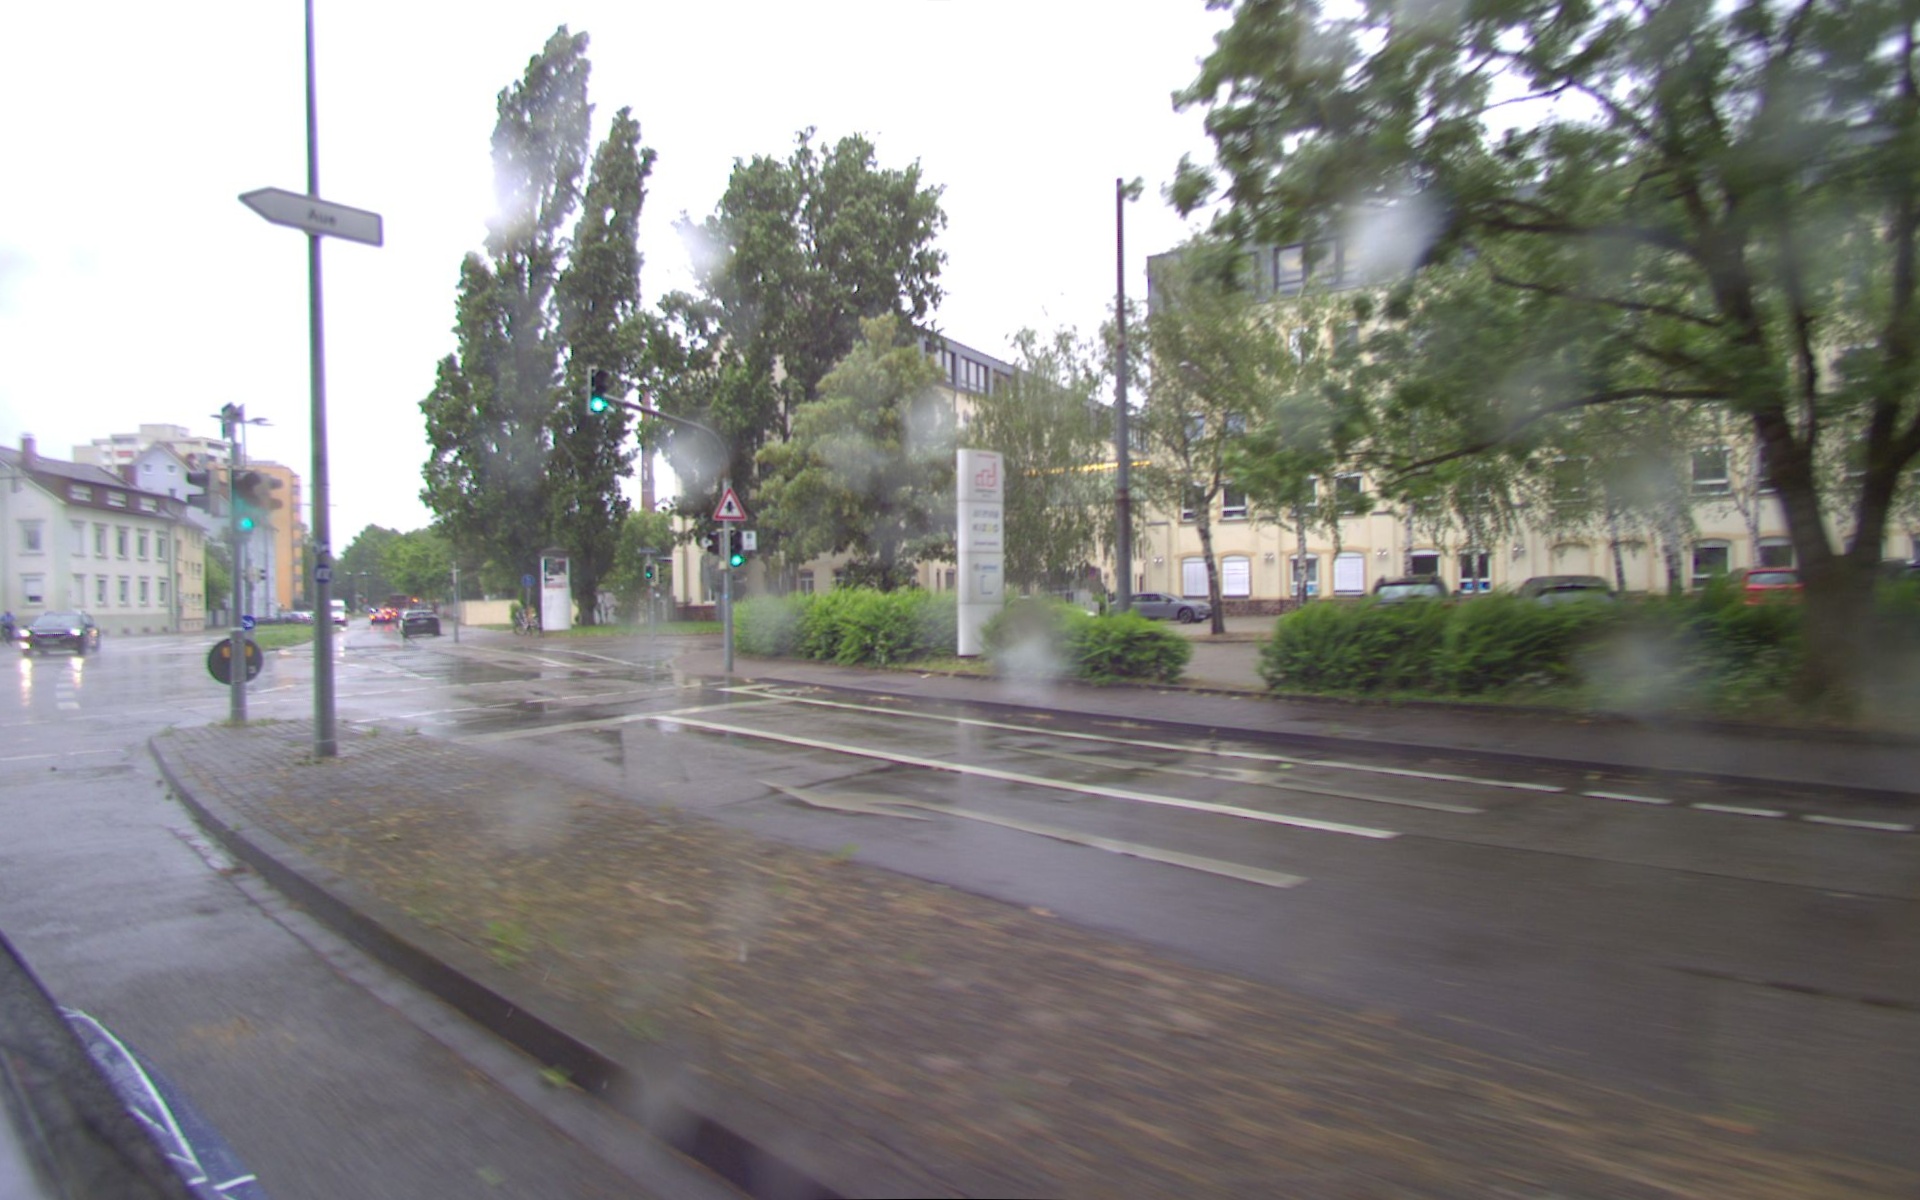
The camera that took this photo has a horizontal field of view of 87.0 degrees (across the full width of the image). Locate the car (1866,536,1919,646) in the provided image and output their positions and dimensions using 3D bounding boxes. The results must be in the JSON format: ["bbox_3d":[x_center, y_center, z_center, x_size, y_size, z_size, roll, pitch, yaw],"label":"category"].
[{"bbox_3d":[15.847,-0.195,16.131,1.648,1.623,3.952,-1,1,36],"label":"car"}]

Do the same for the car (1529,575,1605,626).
[{"bbox_3d":[19.720,0.015,32.971,1.992,1.530,3.959,-1,0,30],"label":"car"}]

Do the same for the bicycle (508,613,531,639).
[{"bbox_3d":[-21.217,1.247,48.746,0.688,1.195,1.628,-2,1,-34],"label":"bicycle"}]

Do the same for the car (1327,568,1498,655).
[{"bbox_3d":[9.223,0.173,20.491,1.925,1.549,3.943,-1,1,44],"label":"car"}]

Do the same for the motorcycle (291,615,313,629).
[{"bbox_3d":[-64.749,2.158,99.585,1.738,1.383,0.737,-2,1,-27],"label":"motorcycle"}]

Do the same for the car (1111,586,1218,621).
[{"bbox_3d":[9.512,0.160,47.167,4.516,1.511,1.979,-1,1,32],"label":"car"}]

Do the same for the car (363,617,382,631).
[{"bbox_3d":[-62.848,2.531,108.287,1.703,1.404,3.962,2,-1,-30],"label":"car"}]

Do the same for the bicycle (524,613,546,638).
[{"bbox_3d":[-19.262,1.127,45.894,0.548,1.085,1.800,-2,1,-34],"label":"bicycle"}]

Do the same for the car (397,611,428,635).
[{"bbox_3d":[-35.950,1.492,66.405,1.580,1.485,4.134,-2,1,-31],"label":"car"}]

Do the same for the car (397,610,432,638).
[{"bbox_3d":[-30.524,1.332,56.577,1.523,1.407,4.207,-3,1,-30],"label":"car"}]

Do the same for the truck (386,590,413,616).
[{"bbox_3d":[-100.089,0.486,180.812,3.770,4.418,10.820,-2,1,-28],"label":"truck"}]

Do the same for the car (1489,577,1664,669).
[{"bbox_3d":[11.398,0.356,18.597,1.925,1.434,3.943,-1,1,44],"label":"car"}]

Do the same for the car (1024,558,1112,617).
[{"bbox_3d":[6.409,-0.774,59.274,2.827,3.217,6.154,-1,1,30],"label":"car"}]

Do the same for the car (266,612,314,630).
[{"bbox_3d":[-68.049,2.093,102.896,3.859,1.627,1.697,-2,1,-27],"label":"car"}]

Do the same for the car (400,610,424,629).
[{"bbox_3d":[-45.818,1.618,84.532,1.672,1.456,4.110,-3,1,-29],"label":"car"}]

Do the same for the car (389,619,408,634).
[{"bbox_3d":[-62.857,2.935,113.268,1.666,1.464,3.730,-2,1,-27],"label":"car"}]

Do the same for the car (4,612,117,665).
[{"bbox_3d":[-31.831,1.313,35.947,1.801,1.641,4.013,-2,1,-24],"label":"car"}]

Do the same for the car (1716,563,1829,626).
[{"bbox_3d":[23.737,-0.145,29.731,1.993,1.699,3.958,-1,0,31],"label":"car"}]

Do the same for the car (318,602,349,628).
[{"bbox_3d":[-60.128,1.411,97.208,2.158,2.272,4.900,-2,1,-28],"label":"car"}]
